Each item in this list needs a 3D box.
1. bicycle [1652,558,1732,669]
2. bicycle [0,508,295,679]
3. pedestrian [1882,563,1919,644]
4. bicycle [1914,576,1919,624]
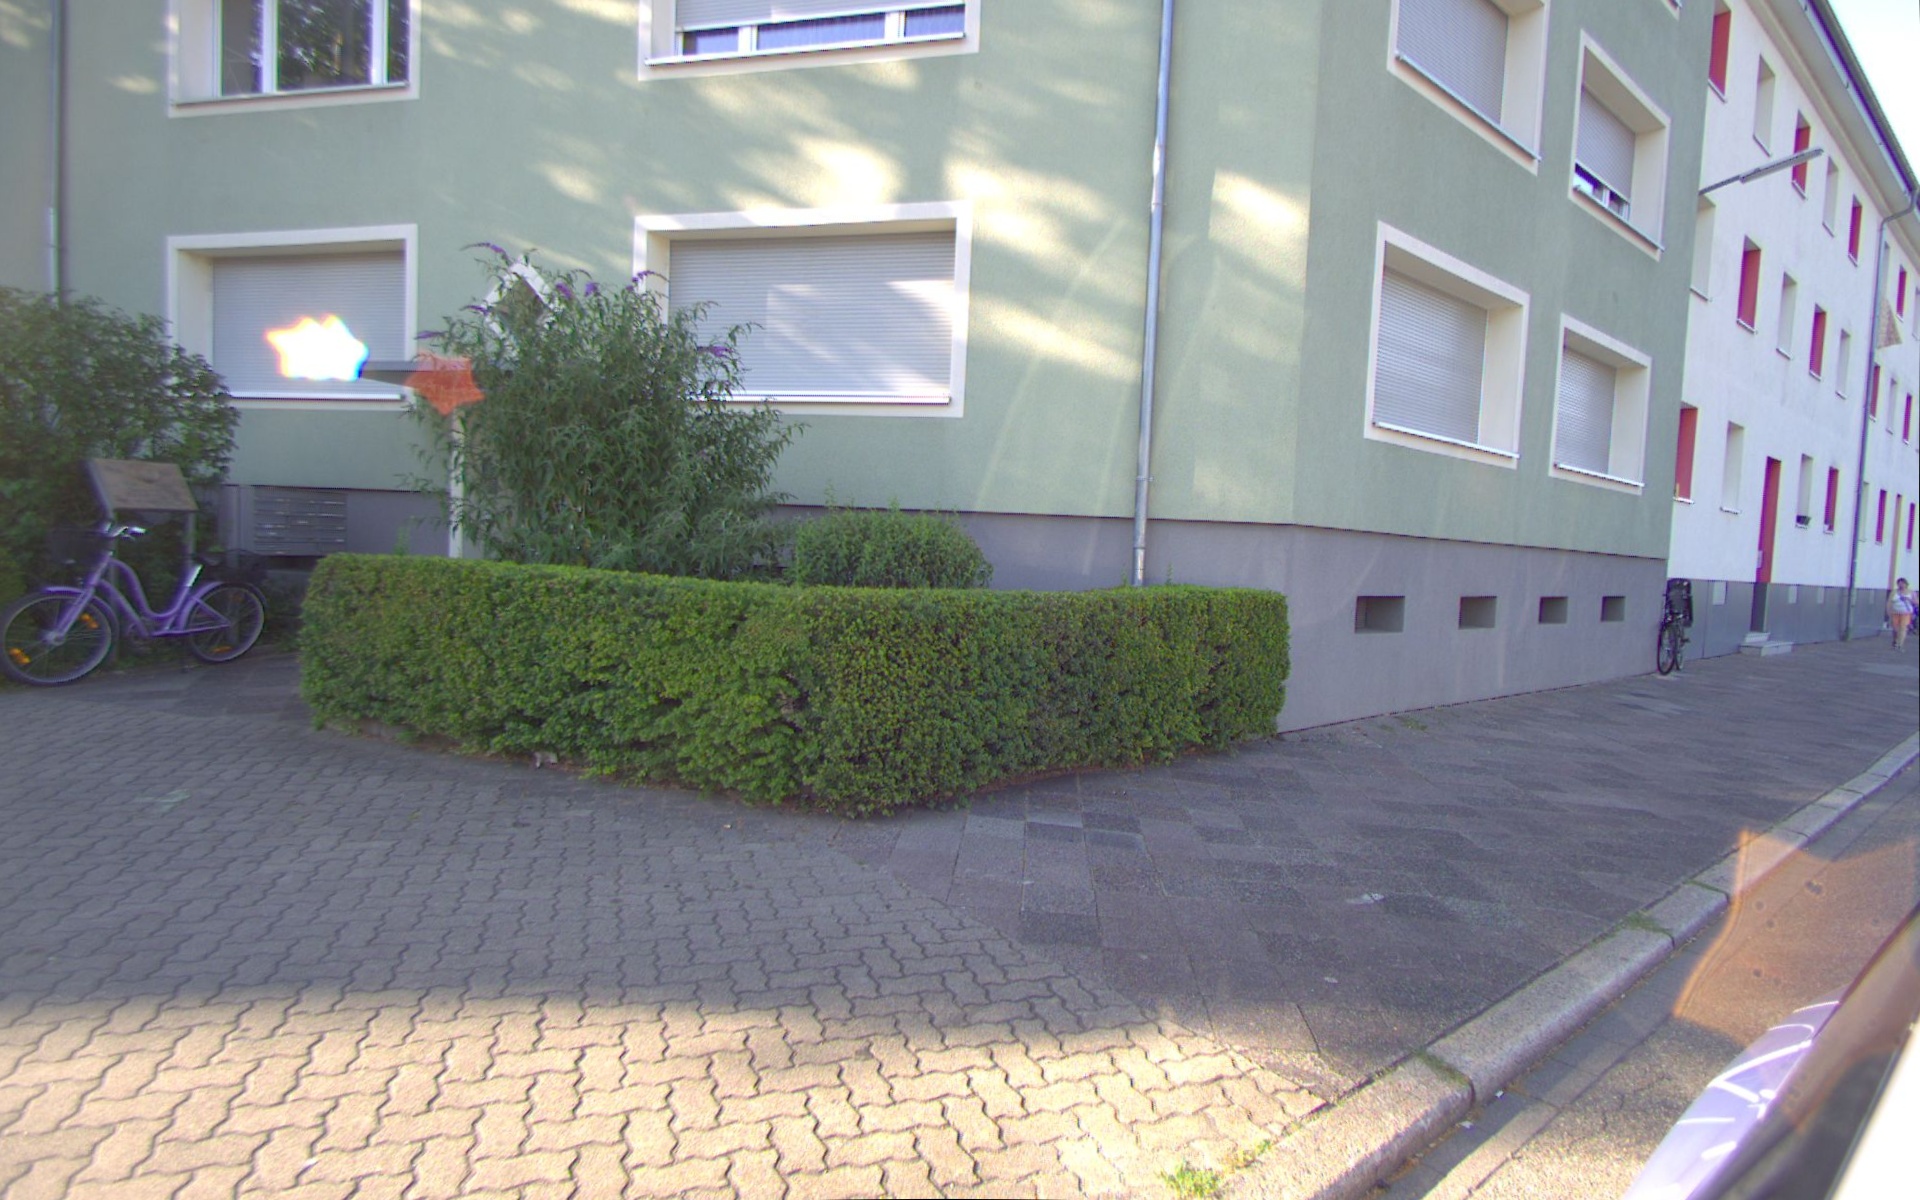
[{"bbox_3d":[10.133,0.159,13.990,1.843,1.429,0.517,-1,4,-44],"label":"bicycle"},{"bbox_3d":[-5.909,-0.087,7.289,0.515,1.069,1.920,3,3,22],"label":"bicycle"},{"bbox_3d":[21.005,0.077,22.291,0.933,1.727,0.787,0,4,-41],"label":"pedestrian"},{"bbox_3d":[29.432,0.011,30.738,1.843,1.429,0.517,-1,4,-44],"label":"bicycle"}]
